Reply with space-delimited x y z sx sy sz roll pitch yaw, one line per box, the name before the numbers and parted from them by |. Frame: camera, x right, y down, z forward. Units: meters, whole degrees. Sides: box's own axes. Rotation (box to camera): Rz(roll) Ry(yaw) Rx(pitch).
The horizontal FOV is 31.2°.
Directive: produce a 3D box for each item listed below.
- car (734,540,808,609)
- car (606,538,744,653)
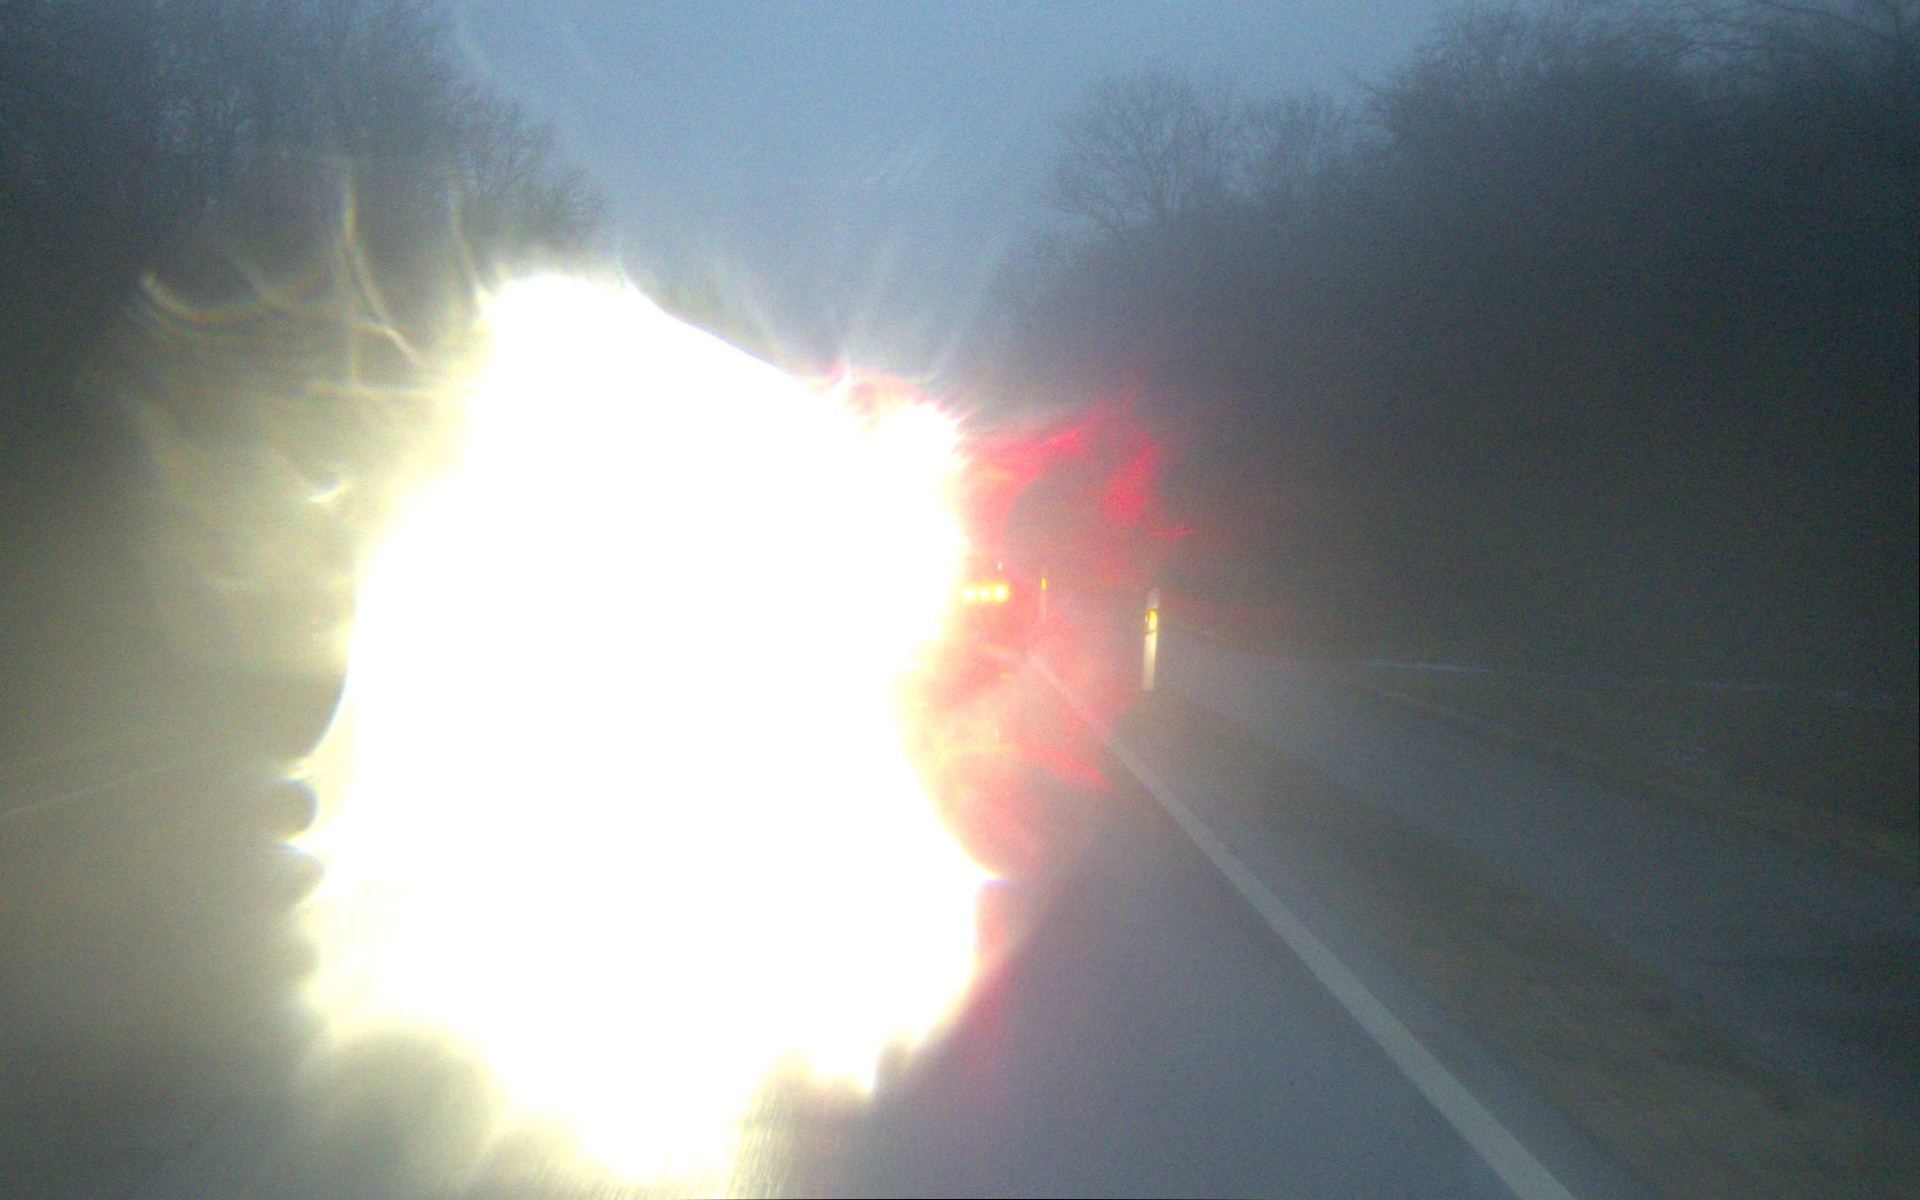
car | -4.458 -0.614 81.365 1.581 1.545 4.000 -1 1 -1
car | -4.207 -0.096 51.271 1.741 1.629 4.000 -1 1 0
